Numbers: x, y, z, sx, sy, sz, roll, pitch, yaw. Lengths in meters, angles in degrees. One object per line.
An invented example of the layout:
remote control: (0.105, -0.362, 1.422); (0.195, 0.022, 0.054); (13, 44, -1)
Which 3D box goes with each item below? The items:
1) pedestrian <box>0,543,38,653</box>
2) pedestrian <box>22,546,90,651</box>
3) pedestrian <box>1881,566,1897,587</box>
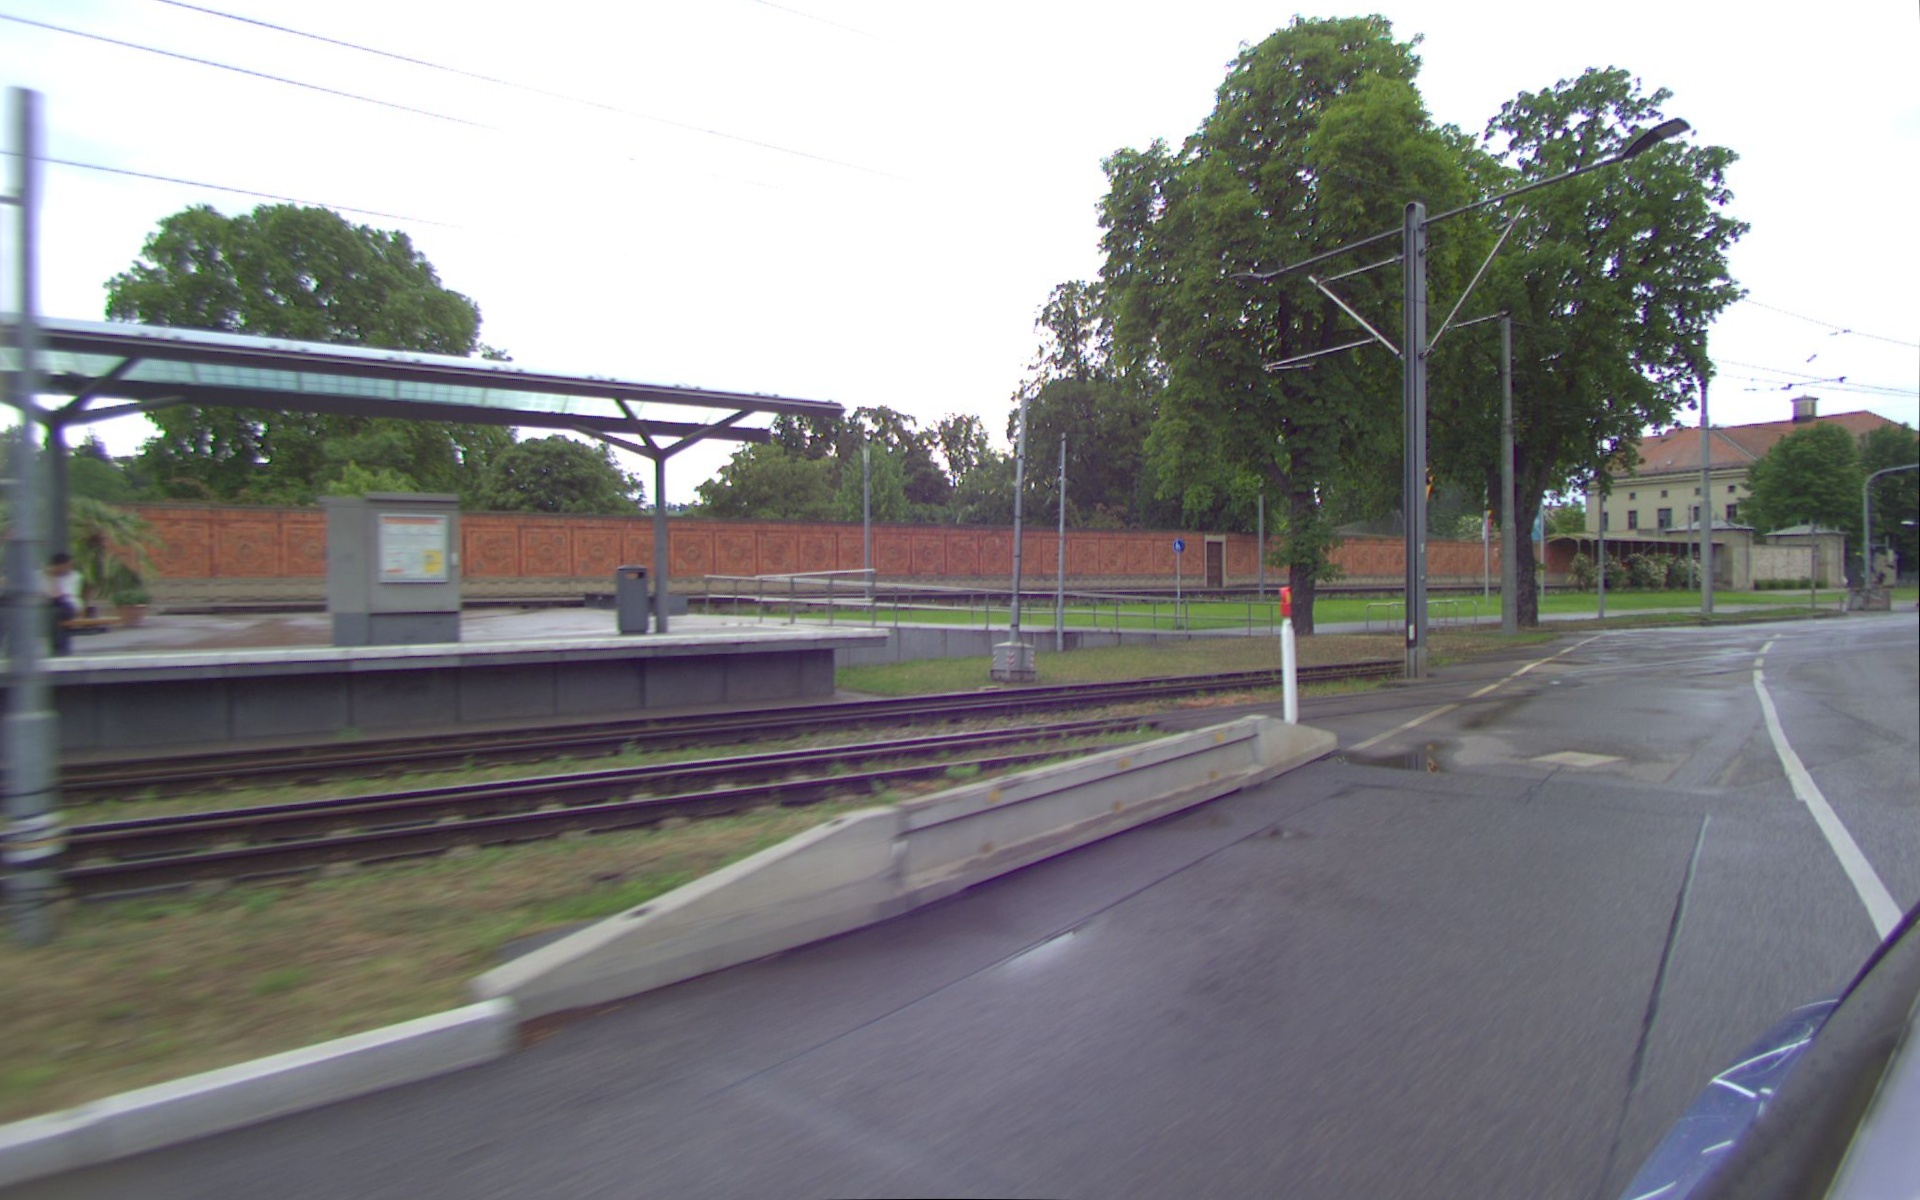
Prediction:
pedestrian: (-11.167, -0.010, 11.631); (0.768, 1.228, 0.520); (-2, -3, -35)
pedestrian: (-10.223, -0.013, 11.438); (0.599, 1.133, 0.512); (-6, -3, 43)
pedestrian: (76.726, -1.959, 83.626); (0.962, 1.732, 0.731); (-1, 1, -31)
